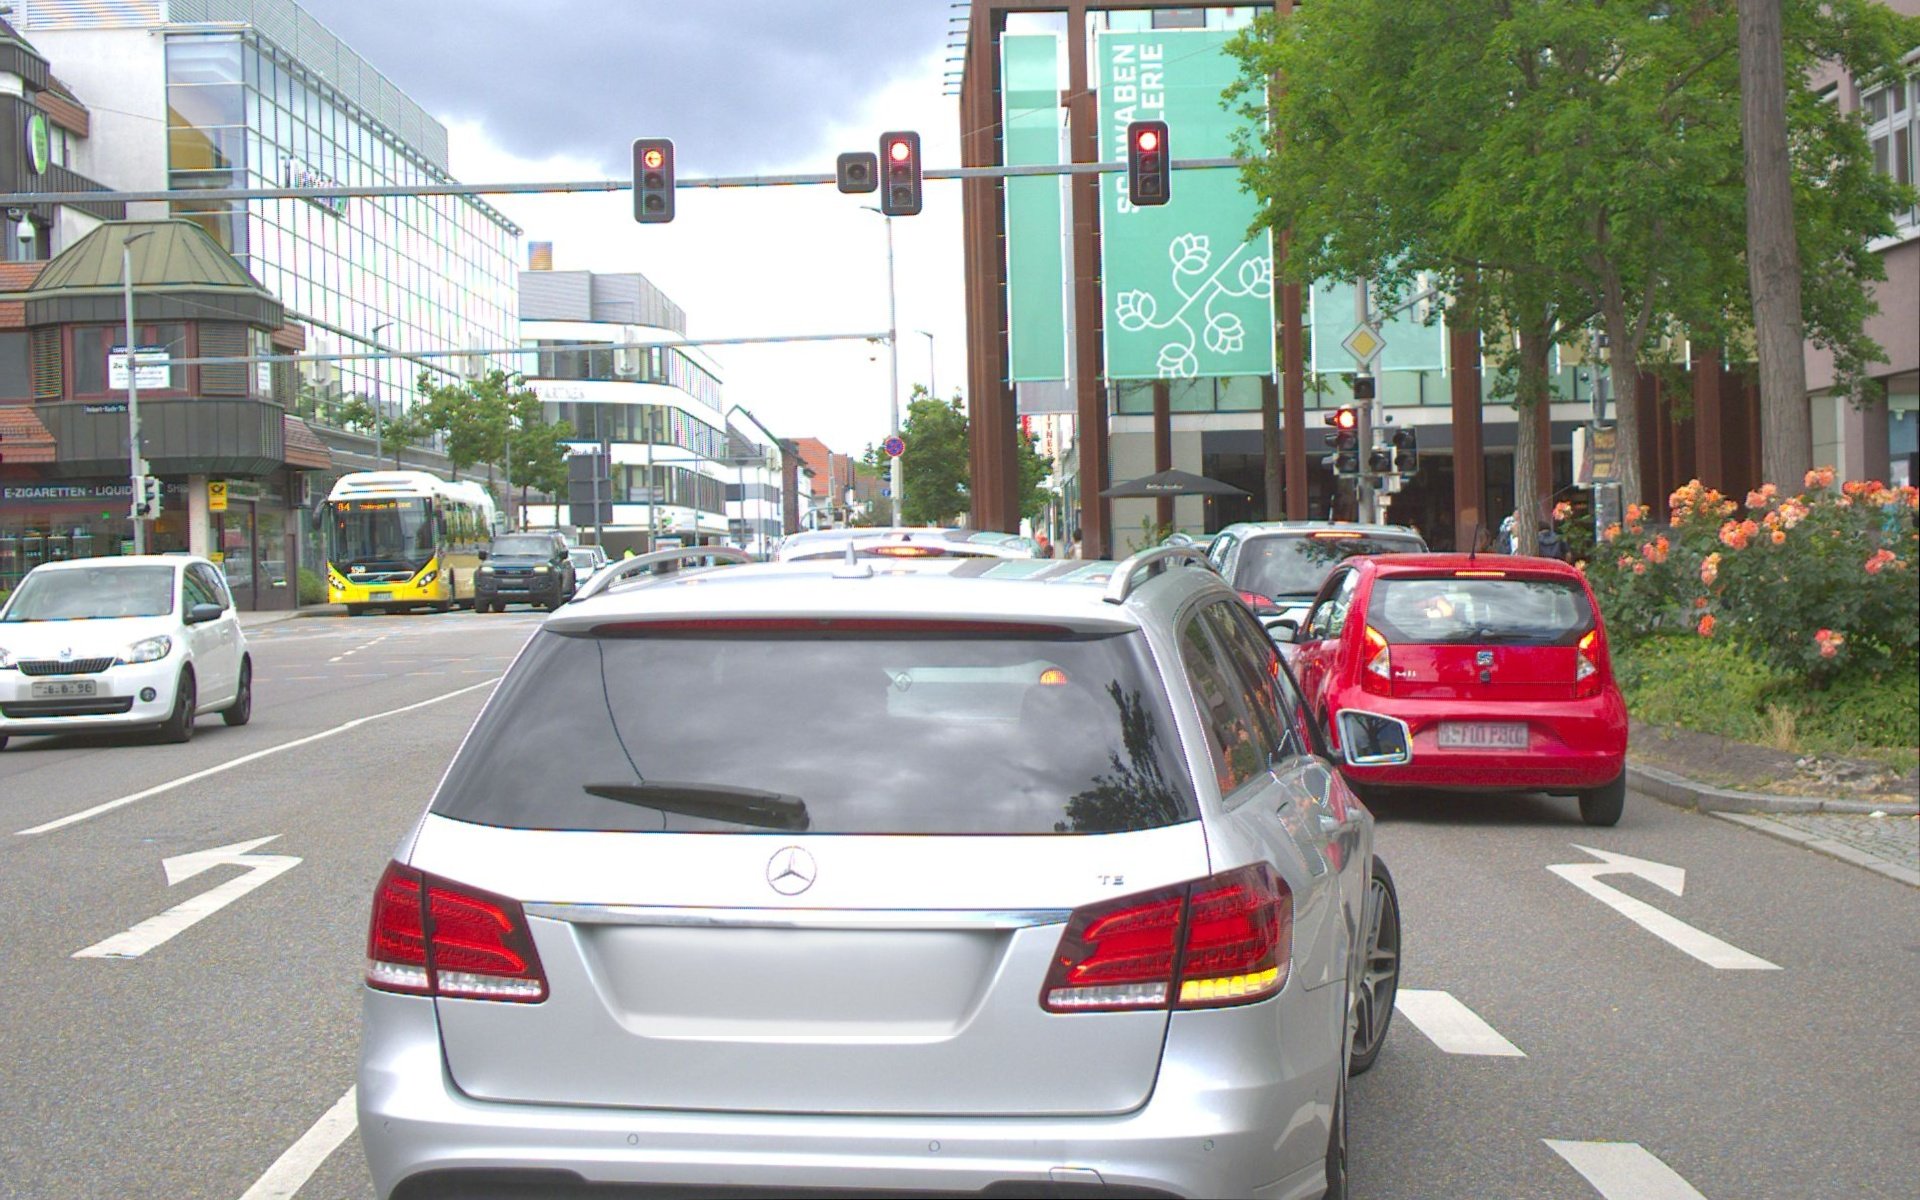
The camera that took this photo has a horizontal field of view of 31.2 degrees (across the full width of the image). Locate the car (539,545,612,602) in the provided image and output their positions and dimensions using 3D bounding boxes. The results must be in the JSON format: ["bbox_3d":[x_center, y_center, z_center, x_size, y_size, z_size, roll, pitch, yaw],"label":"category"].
[{"bbox_3d":[-9.808,-0.693,87.770,1.555,1.387,3.288,-1,1,-1],"label":"car"}]

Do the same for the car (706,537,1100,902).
[{"bbox_3d":[-0.255,0.468,16.041,1.640,1.522,3.394,0,1,-1],"label":"car"}]

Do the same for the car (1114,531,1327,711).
[{"bbox_3d":[2.413,0.151,32.628,1.586,1.589,3.868,1,1,-2],"label":"car"}]

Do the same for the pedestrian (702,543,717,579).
[{"bbox_3d":[-11.952,-1.859,163.979,0.519,1.728,0.489,-1,1,16],"label":"pedestrian"}]

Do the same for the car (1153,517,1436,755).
[{"bbox_3d":[2.426,0.215,25.773,1.586,1.628,3.917,1,1,-2],"label":"car"}]

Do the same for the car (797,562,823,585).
[{"bbox_3d":[-10.815,-1.908,247.770,1.800,1.535,4.065,-1,1,-2],"label":"car"}]

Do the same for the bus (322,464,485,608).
[{"bbox_3d":[-13.317,-1.555,82.919,2.686,3.250,8.654,-1,1,-2],"label":"bus"}]

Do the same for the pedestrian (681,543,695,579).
[{"bbox_3d":[-12.942,-1.860,163.749,0.519,1.728,0.489,-1,1,8],"label":"pedestrian"}]

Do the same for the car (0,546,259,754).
[{"bbox_3d":[-6.701,0.349,27.289,1.574,1.483,3.464,-2,1,-1],"label":"car"}]

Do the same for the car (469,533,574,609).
[{"bbox_3d":[-10.201,-0.704,80.191,1.993,1.700,4.065,-1,1,-1],"label":"car"}]

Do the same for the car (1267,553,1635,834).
[{"bbox_3d":[2.723,0.465,19.687,1.586,1.438,3.348,1,1,0],"label":"car"}]

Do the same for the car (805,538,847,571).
[{"bbox_3d":[-6.427,-2.216,165.158,1.801,1.535,4.065,-1,1,1],"label":"car"}]

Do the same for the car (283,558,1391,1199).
[{"bbox_3d":[0.044,0.638,7.880,1.815,1.443,4.368,1,1,8],"label":"car"}]

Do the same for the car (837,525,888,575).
[{"bbox_3d":[-3.955,-2.037,139.508,1.993,1.942,4.951,-1,1,-1],"label":"car"}]

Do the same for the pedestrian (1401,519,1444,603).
[{"bbox_3d":[9.175,-0.776,68.248,0.651,1.645,0.559,-1,1,-15],"label":"pedestrian"}]
